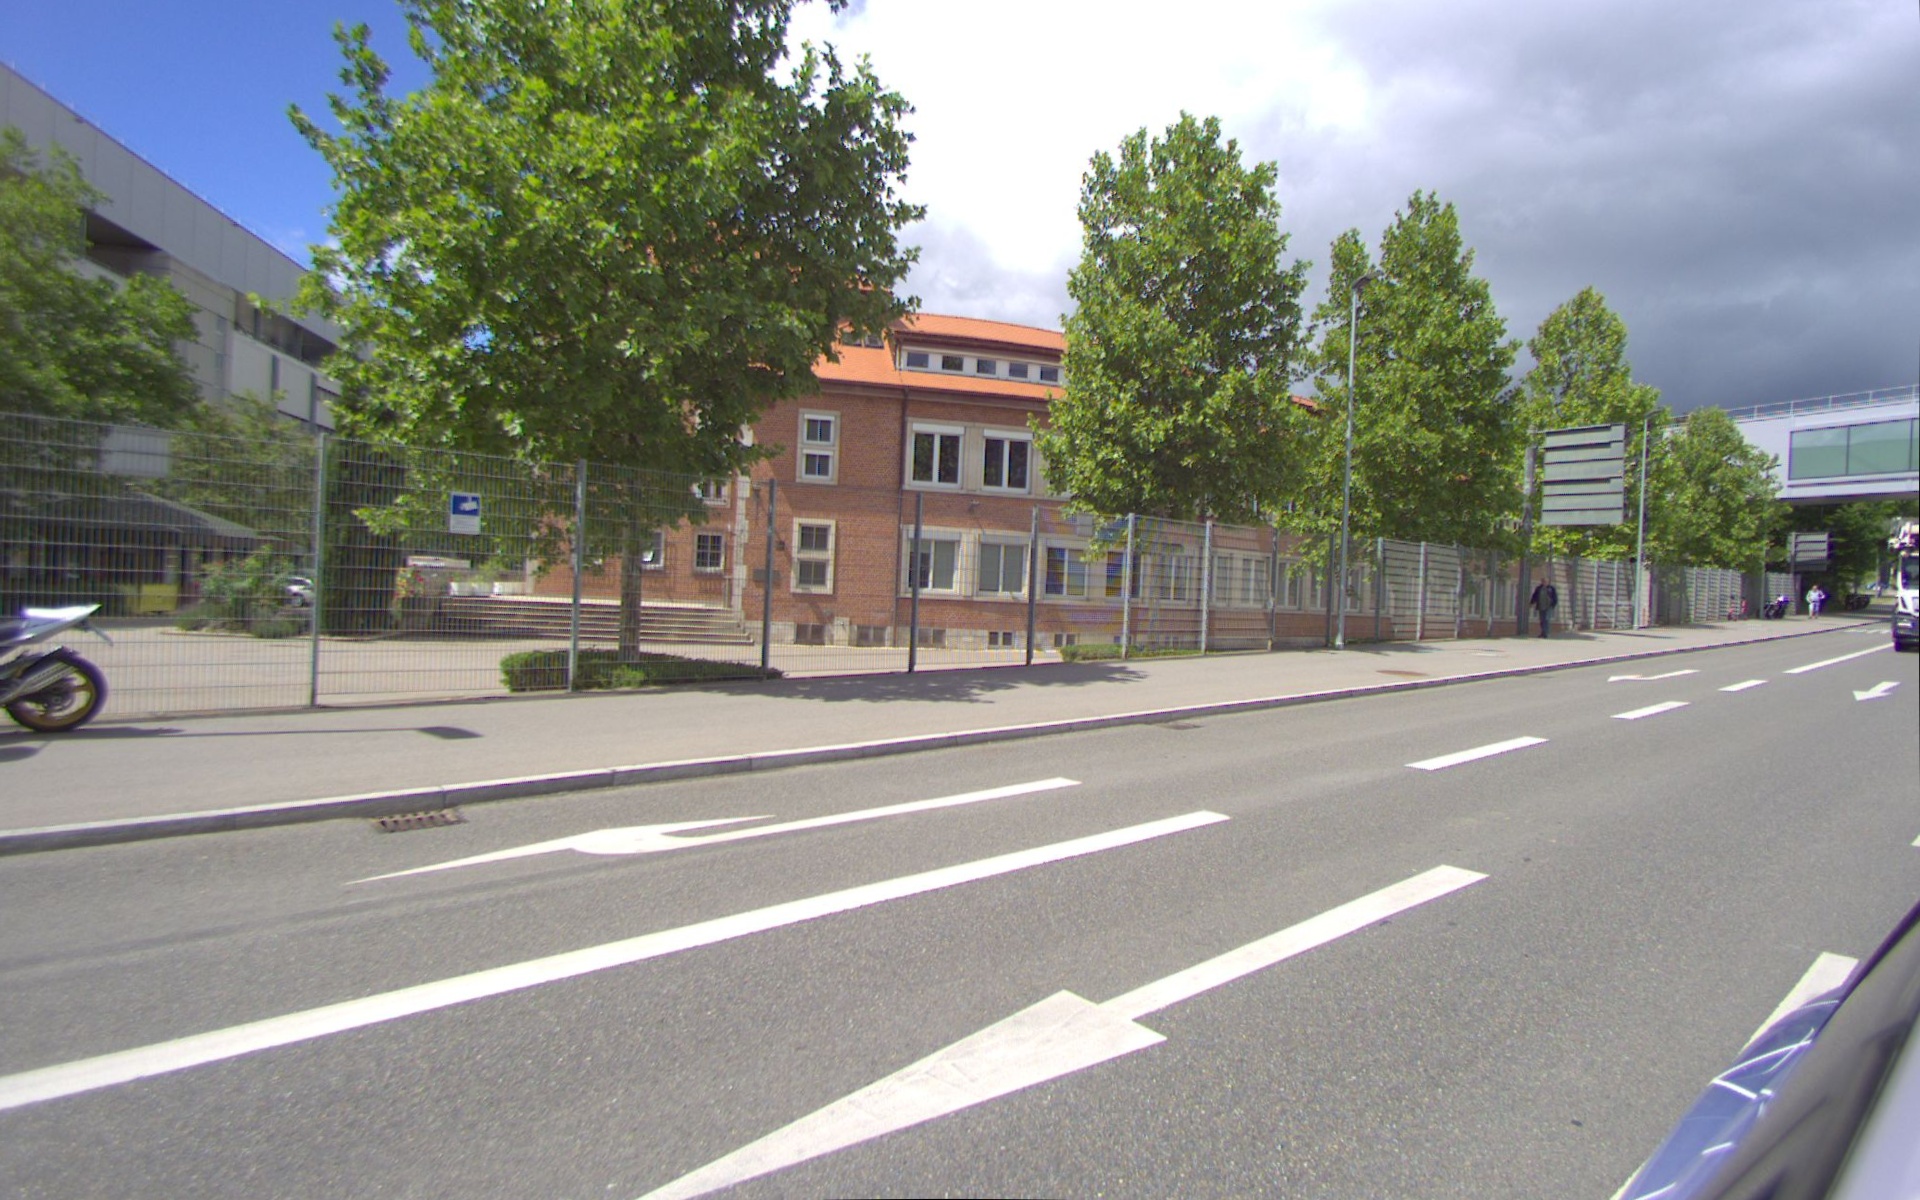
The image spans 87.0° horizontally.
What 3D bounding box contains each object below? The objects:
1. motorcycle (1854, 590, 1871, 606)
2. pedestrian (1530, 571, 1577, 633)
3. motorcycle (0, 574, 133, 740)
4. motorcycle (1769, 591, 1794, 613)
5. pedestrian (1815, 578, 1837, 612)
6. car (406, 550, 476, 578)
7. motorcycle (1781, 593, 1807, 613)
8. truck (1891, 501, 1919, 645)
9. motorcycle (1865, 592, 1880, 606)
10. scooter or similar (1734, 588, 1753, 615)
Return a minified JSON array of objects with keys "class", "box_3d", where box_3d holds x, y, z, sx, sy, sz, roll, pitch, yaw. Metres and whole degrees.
[{"class":"motorcycle","box_3d":[68.457,-0.167,76.724,2.076,1.168,0.679,0,2,-41]},{"class":"pedestrian","box_3d":[17.695,0.046,30.170,0.924,1.764,0.879,0,3,-42]},{"class":"motorcycle","box_3d":[-7.388,0.407,7.322,0.693,1.172,2.113,4,3,44]},{"class":"motorcycle","box_3d":[44.521,0.094,54.816,2.209,1.077,0.669,-1,4,-43]},{"class":"pedestrian","box_3d":[49.700,-0.296,58.055,1.078,1.911,0.790,0,2,-43]},{"class":"car","box_3d":[-35.905,-2.483,70.158,3.916,1.805,2.004,-1,1,-13]},{"class":"motorcycle","box_3d":[46.848,0.155,56.827,2.467,1.077,0.709,-1,4,-43]},{"class":"truck","box_3d":[31.377,-0.755,31.432,9.914,4.055,2.784,0,1,-43]},{"class":"motorcycle","box_3d":[71.395,-0.091,79.207,2.004,1.096,0.679,-1,2,-43]},{"class":"scooter or similar","box_3d":[39.007,0.076,50.382,1.314,1.310,0.492,0,3,-42]}]
